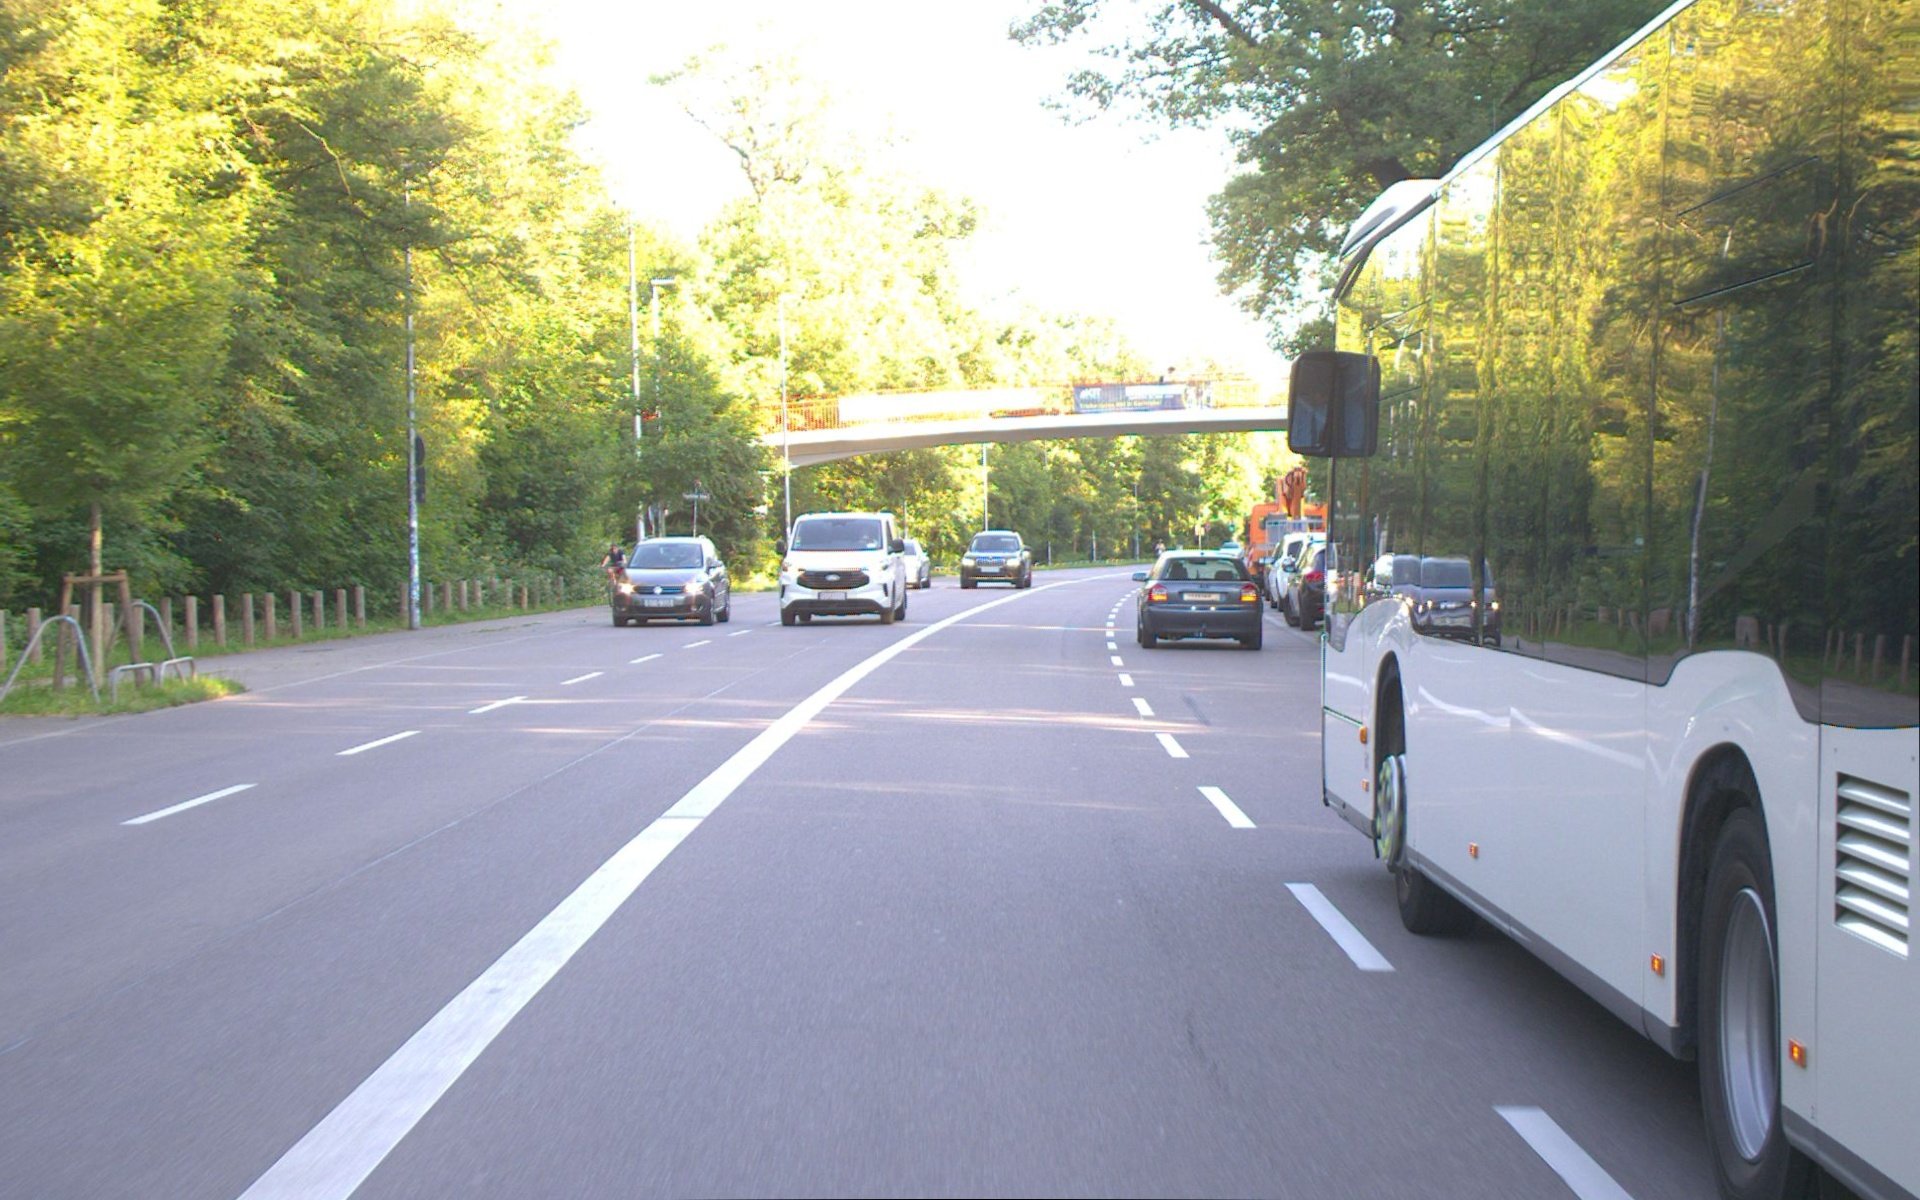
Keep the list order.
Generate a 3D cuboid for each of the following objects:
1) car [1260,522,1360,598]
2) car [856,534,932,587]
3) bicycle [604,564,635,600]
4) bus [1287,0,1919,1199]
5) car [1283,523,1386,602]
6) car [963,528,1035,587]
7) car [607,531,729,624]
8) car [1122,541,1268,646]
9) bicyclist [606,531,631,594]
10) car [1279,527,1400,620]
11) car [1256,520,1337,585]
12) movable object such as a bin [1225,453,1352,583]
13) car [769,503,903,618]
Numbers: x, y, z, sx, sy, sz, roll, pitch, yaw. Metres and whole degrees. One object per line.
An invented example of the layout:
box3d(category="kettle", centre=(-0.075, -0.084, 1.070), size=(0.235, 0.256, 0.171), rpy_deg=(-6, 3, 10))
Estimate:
box3d(category="car", centre=(7.532, -0.880, 74.359), size=(1.838, 1.569, 4.459), rpy_deg=(0, 1, 2))
box3d(category="car", centre=(-1.940, -1.197, 102.715), size=(1.898, 1.526, 4.529), rpy_deg=(-1, 1, 4))
box3d(category="bicycle", centre=(-8.141, -0.433, 82.270), size=(0.495, 0.811, 1.808), rpy_deg=(1, 2, 2))
box3d(category="bus", centre=(2.926, -0.192, 10.058), size=(2.704, 3.211, 12.280), rpy_deg=(0, 1, 0))
box3d(category="car", centre=(7.503, -0.771, 69.154), size=(1.728, 1.536, 4.090), rpy_deg=(0, 1, 2))
box3d(category="car", centre=(1.180, -1.285, 102.273), size=(1.918, 1.698, 4.442), rpy_deg=(0, 1, 4))
box3d(category="car", centre=(-5.210, -0.435, 61.830), size=(1.800, 1.594, 4.000), rpy_deg=(-1, 1, 1))
box3d(category="car", centre=(3.346, -0.120, 49.570), size=(1.727, 1.436, 4.090), rpy_deg=(0, 1, -1))
box3d(category="bicyclist", centre=(-8.159, -0.898, 82.138), size=(0.499, 1.479, 0.761), rpy_deg=(0, 1, 3))
box3d(category="car", centre=(6.465, -0.487, 58.848), size=(1.728, 1.519, 4.090), rpy_deg=(-1, 1, 2))
box3d(category="car", centre=(8.331, -1.196, 85.284), size=(1.728, 1.569, 4.090), rpy_deg=(0, 1, 2))
box3d(category="movable object such as a bin", centre=(8.869, -2.223, 93.499), size=(2.758, 3.359, 7.601), rpy_deg=(-1, 1, 1))
box3d(category="car", centre=(-2.168, -0.718, 61.351), size=(2.206, 1.954, 4.913), rpy_deg=(0, 1, 0))
